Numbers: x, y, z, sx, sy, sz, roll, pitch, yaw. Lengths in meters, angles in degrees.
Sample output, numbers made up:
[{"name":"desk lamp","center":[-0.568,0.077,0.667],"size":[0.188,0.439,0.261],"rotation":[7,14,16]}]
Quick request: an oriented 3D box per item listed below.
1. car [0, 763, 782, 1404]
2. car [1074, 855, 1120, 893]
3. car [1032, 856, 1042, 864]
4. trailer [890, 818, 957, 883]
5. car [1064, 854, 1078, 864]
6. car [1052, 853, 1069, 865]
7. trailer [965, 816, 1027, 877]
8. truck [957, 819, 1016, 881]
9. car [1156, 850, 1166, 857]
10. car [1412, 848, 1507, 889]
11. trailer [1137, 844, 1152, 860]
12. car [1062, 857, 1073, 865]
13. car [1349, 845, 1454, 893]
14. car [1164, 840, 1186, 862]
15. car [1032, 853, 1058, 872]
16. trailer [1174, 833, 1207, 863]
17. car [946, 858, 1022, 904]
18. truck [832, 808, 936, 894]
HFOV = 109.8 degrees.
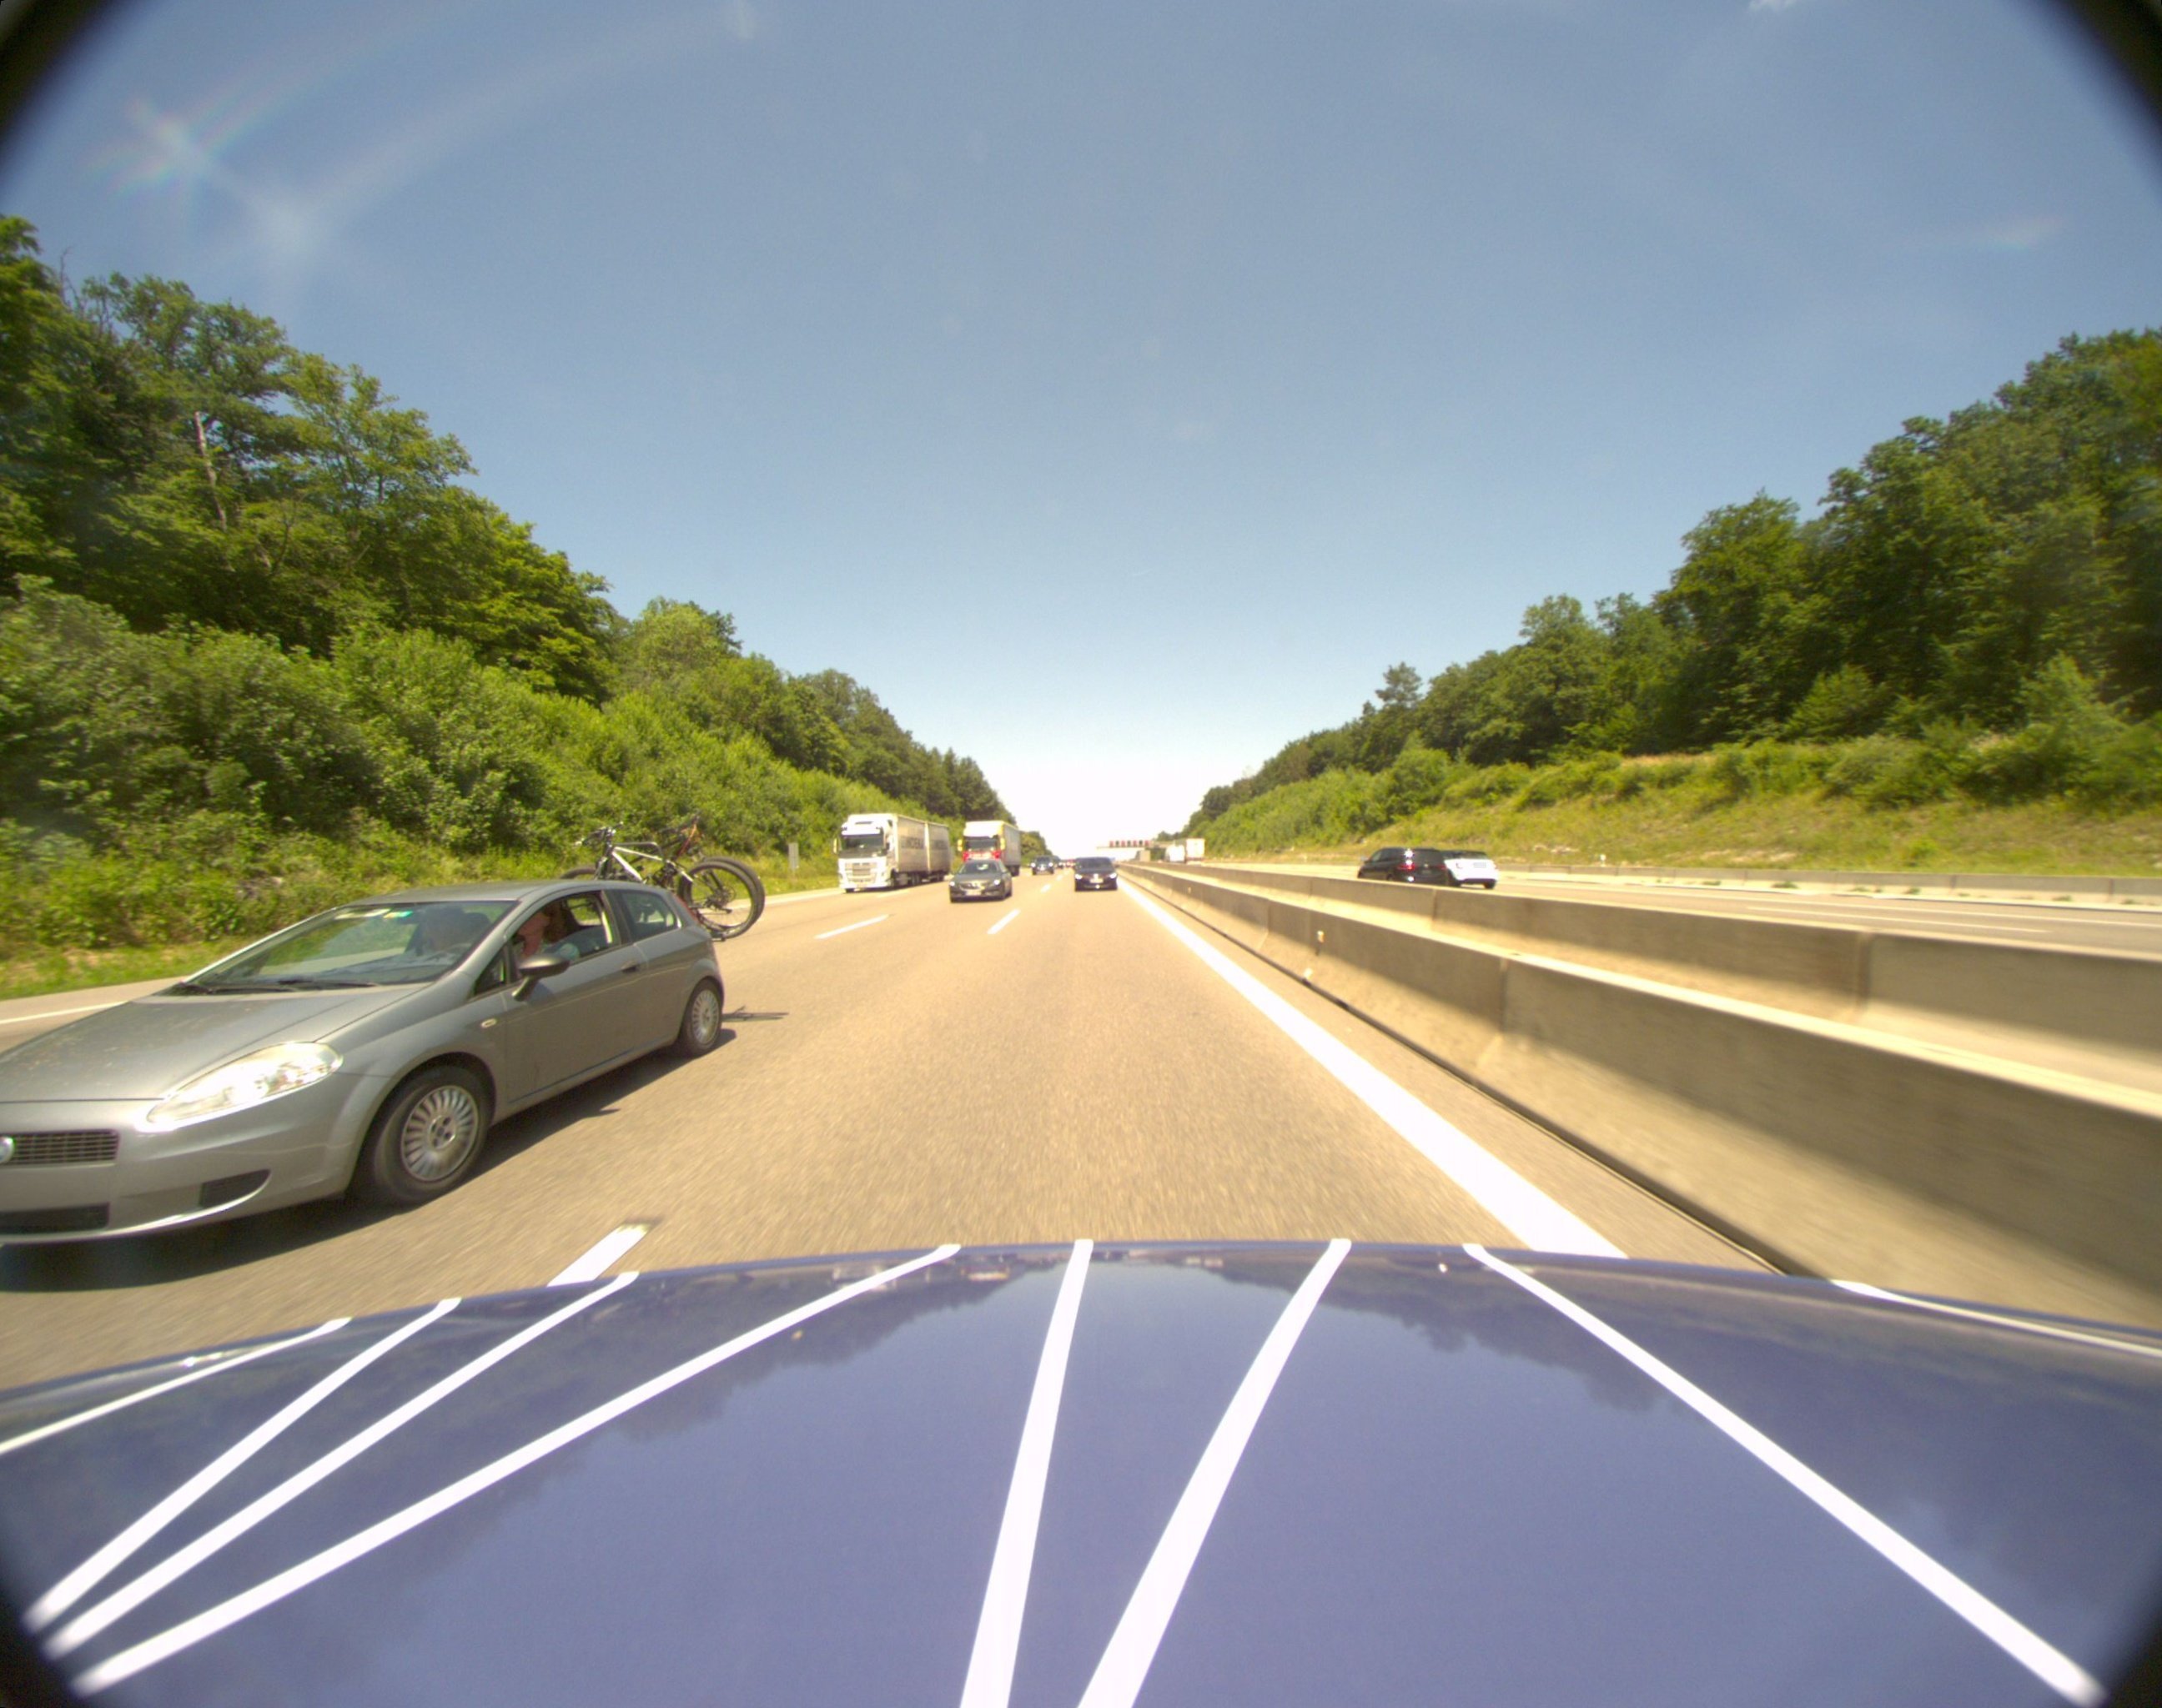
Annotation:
[{"name":"car","center":[-3.904,0.769,4.833],"size":[1.966,2.041,4.784],"rotation":[-2,0,1]},{"name":"car","center":[0.661,0.802,32.586],"size":[1.778,1.425,4.143],"rotation":[-3,0,1]},{"name":"car","center":[-9.450,1.281,163.973],"size":[1.910,1.503,4.159],"rotation":[-1,0,0]},{"name":"trailer","center":[-10.728,-0.244,52.525],"size":[2.585,4.046,8.383],"rotation":[-3,0,1]},{"name":"car","center":[-1.498,0.806,119.156],"size":[1.910,1.504,4.160],"rotation":[-3,0,2]},{"name":"car","center":[-2.599,0.649,98.087],"size":[1.910,1.504,4.160],"rotation":[-3,0,2]},{"name":"trailer","center":[-6.410,-0.483,59.902],"size":[2.926,4.118,14.849],"rotation":[-1,0,1]},{"name":"truck","center":[-6.511,-0.226,53.405],"size":[3.018,3.957,7.540],"rotation":[-2,0,0]},{"name":"car","center":[16.587,-0.033,157.877],"size":[1.671,1.399,4.440],"rotation":[-1,0,0]},{"name":"car","center":[15.379,0.531,31.186],"size":[1.748,1.553,4.422],"rotation":[1,1,1]},{"name":"trailer","center":[17.073,-0.512,205.698],"size":[3.108,4.228,13.841],"rotation":[0,0,1]},{"name":"car","center":[-2.291,1.280,131.689],"size":[1.715,1.308,3.490],"rotation":[-1,0,1]},{"name":"car","center":[11.279,0.469,27.110],"size":[1.805,1.540,4.728],"rotation":[-1,0,1]},{"name":"car","center":[12.339,-0.373,100.229],"size":[2.090,2.783,7.602],"rotation":[1,1,1]},{"name":"car","center":[-3.120,0.742,66.420],"size":[1.910,1.504,4.160],"rotation":[-3,0,2]},{"name":"trailer","center":[15.877,-0.892,111.312],"size":[2.932,4.060,13.839],"rotation":[-1,0,1]},{"name":"car","center":[-3.422,0.913,27.867],"size":[1.972,1.444,5.224],"rotation":[-1,0,1]},{"name":"truck","center":[-10.858,-0.151,43.334],"size":[2.729,4.136,10.969],"rotation":[-3,0,1]}]
